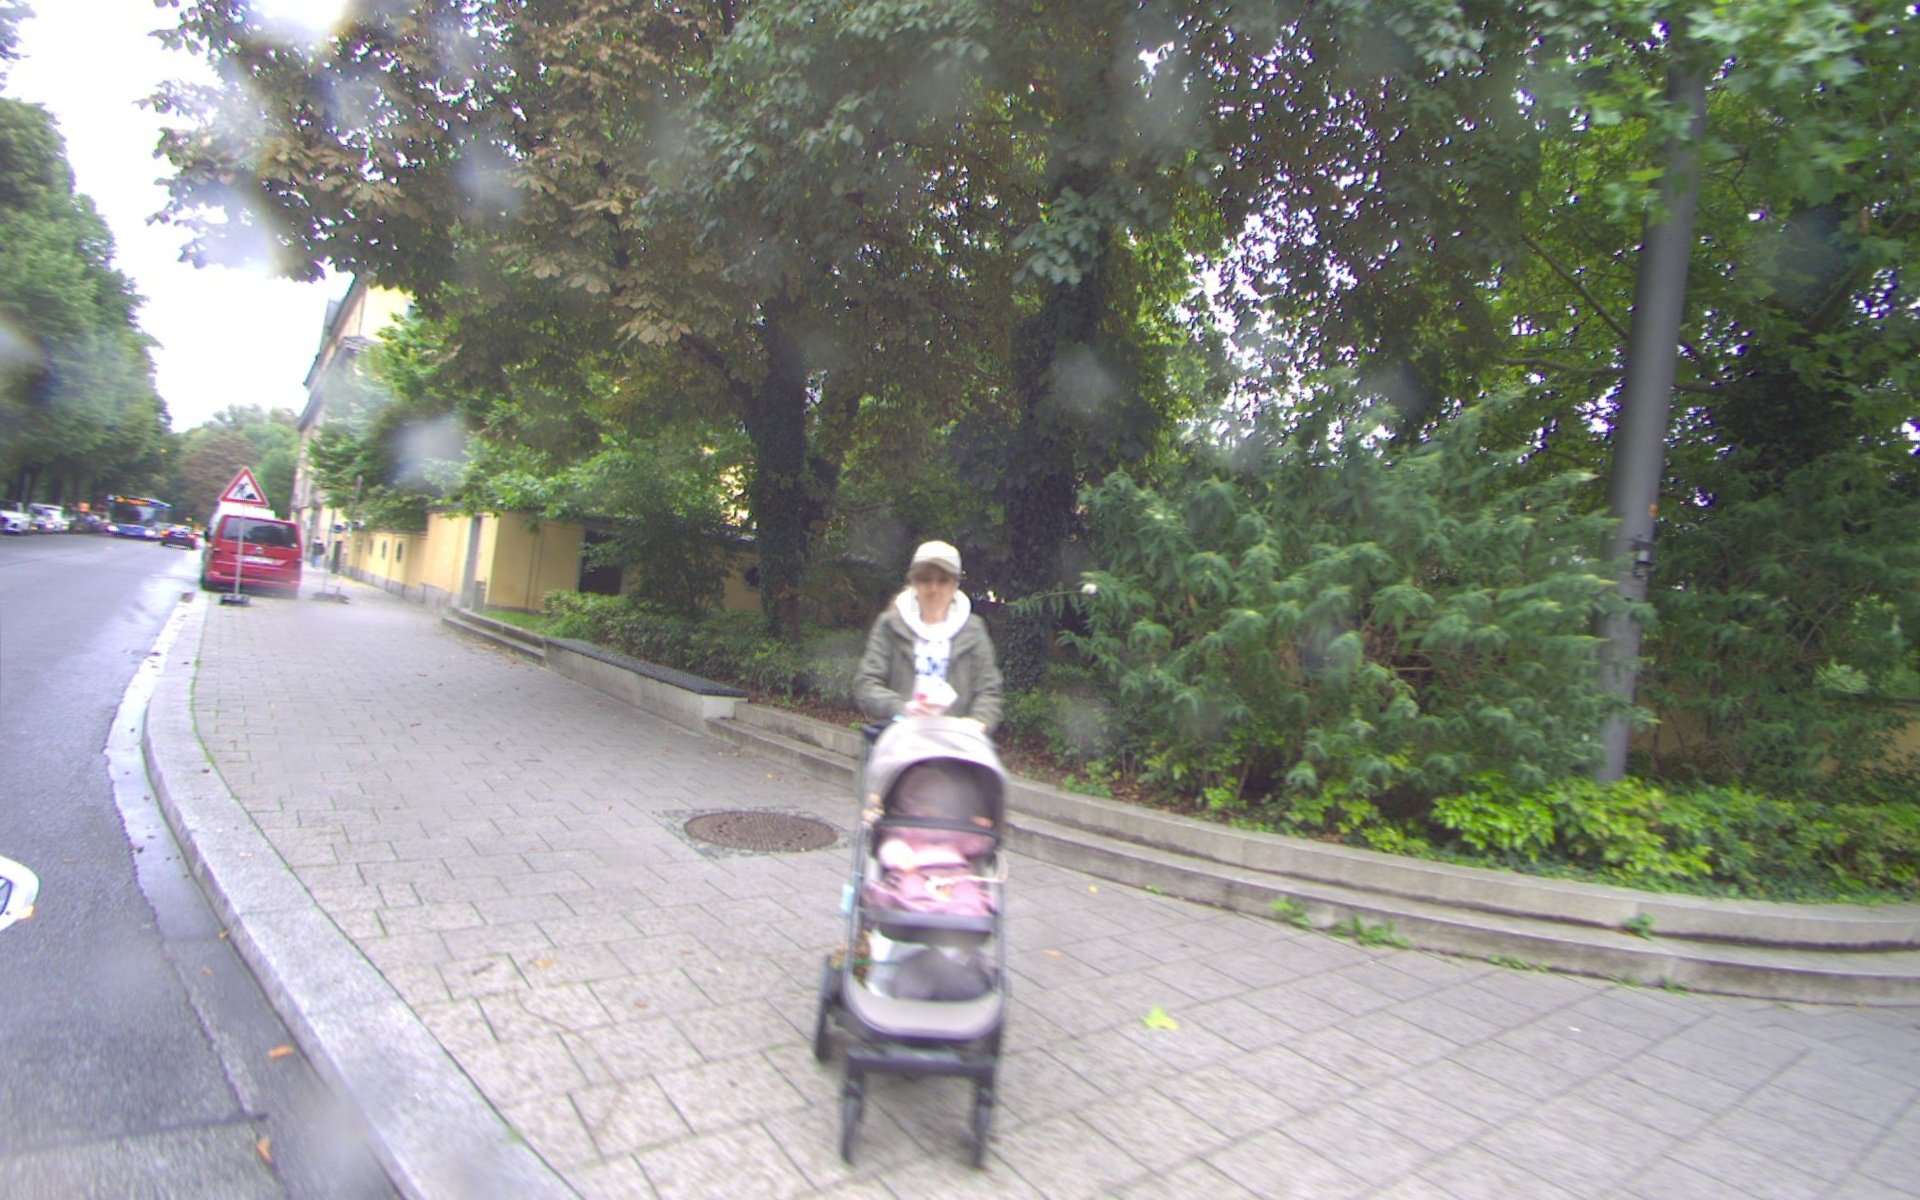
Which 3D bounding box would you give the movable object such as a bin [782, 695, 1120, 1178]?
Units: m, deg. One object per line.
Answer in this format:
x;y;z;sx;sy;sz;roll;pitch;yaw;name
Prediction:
-0.084;0.904;2.967;0.764;1.098;0.899;5;1;-9;movable object such as a bin

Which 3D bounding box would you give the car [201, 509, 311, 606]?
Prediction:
-17.948;-1.075;25.516;1.850;1.990;5.390;8;-2;-38;car

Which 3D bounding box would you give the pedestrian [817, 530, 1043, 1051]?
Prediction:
-0.152;0.620;3.644;0.583;1.640;0.862;5;1;-8;pedestrian

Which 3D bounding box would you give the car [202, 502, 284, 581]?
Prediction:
-27.288;-2.182;38.185;2.086;2.516;5.682;8;-2;-38;car

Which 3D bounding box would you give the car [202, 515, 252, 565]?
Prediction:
-46.763;-3.829;64.083;2.045;2.704;7.535;8;-2;-38;car

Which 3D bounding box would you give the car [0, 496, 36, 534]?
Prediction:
-44.881;-4.033;47.155;1.776;1.616;4.537;8;-2;-38;car

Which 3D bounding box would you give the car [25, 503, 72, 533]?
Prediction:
-54.182;-4.854;59.835;1.665;1.486;4.061;8;-2;-38;car

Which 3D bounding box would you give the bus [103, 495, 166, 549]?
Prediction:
-63.967;-5.842;78.266;2.846;3.276;18.243;8;-3;-37;bus

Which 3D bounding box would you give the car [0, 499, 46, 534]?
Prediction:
-48.628;-4.297;51.951;1.665;1.486;4.061;8;-2;-38;car

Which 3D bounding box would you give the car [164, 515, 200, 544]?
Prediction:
-50.437;-4.529;65.265;1.569;1.602;4.005;8;-2;-36;car
